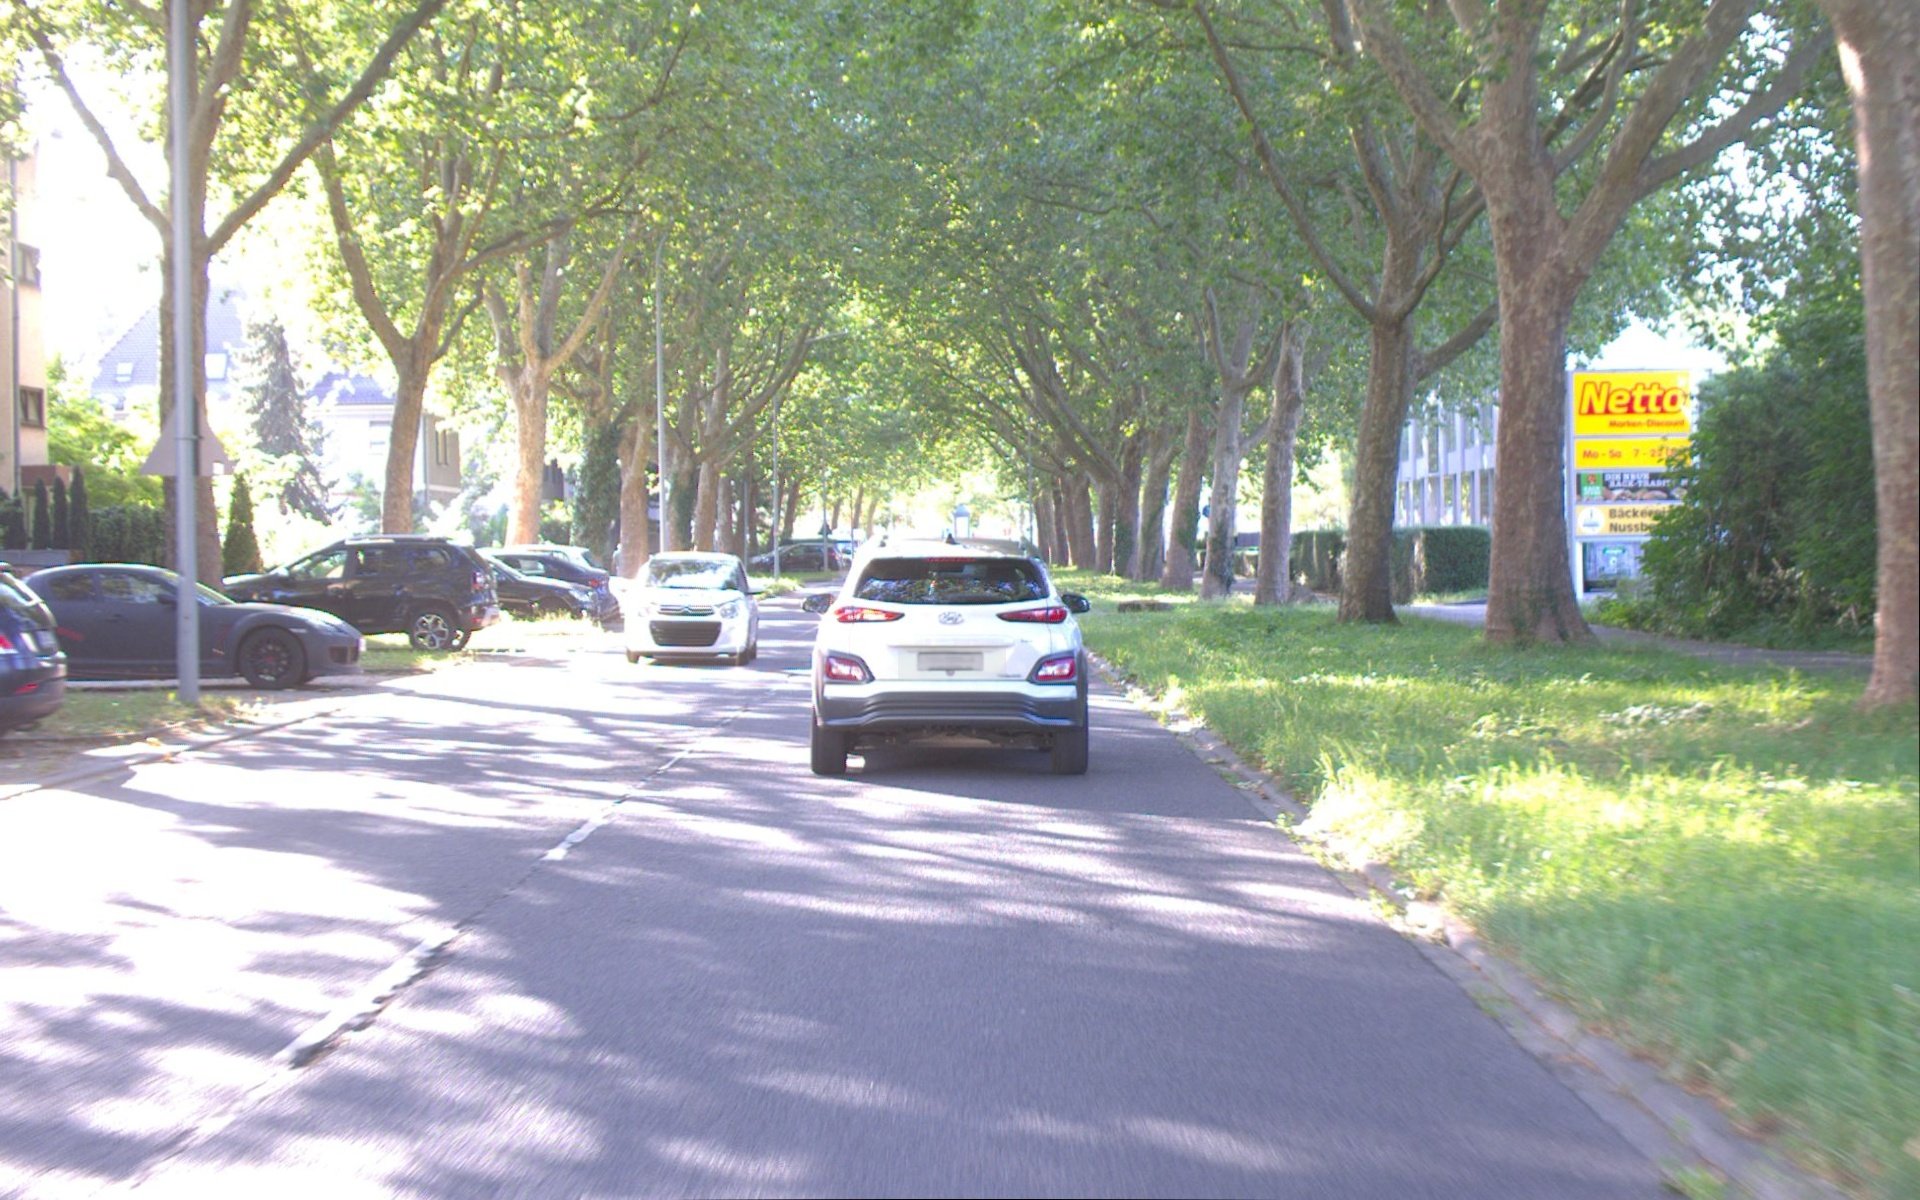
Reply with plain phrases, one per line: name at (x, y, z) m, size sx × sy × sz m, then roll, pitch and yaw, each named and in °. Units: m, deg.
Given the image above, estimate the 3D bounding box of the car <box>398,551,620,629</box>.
car at (-8.371, -0.200, 64.081) m, size 3.986 × 1.419 × 1.809 m, roll 0°, pitch 1°, yaw -4°

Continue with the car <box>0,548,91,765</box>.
car at (-8.524, 0.401, 24.660) m, size 4.159 × 1.501 × 1.802 m, roll -1°, pitch 1°, yaw -4°

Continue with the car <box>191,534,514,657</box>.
car at (-8.516, -0.072, 48.445) m, size 4.244 × 1.674 × 1.671 m, roll 0°, pitch 1°, yaw 0°

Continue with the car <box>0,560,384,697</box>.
car at (-8.347, 0.291, 36.328) m, size 4.240 × 1.348 × 1.741 m, roll -1°, pitch 1°, yaw -2°

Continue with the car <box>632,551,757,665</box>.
car at (-3.515, 0.084, 45.886) m, size 1.535 × 1.454 × 3.185 m, roll 0°, pitch 1°, yaw -2°

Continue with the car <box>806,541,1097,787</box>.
car at (-0.064, 0.386, 23.712) m, size 1.835 × 1.550 × 4.000 m, roll 0°, pitch 0°, yaw 0°

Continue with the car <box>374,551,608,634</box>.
car at (-8.403, -0.152, 61.798) m, size 3.987 × 1.465 × 1.781 m, roll 0°, pitch 1°, yaw -1°

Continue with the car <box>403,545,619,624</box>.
car at (-8.729, -0.307, 67.058) m, size 3.987 × 1.515 × 1.809 m, roll 0°, pitch 1°, yaw -1°

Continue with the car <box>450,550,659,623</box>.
car at (-8.188, -0.279, 69.694) m, size 3.987 × 1.465 × 1.809 m, roll 0°, pitch 1°, yaw 2°

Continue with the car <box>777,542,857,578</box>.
car at (-7.349, -2.043, 176.321) m, size 3.986 × 1.766 × 2.000 m, roll 0°, pitch 0°, yaw -4°
